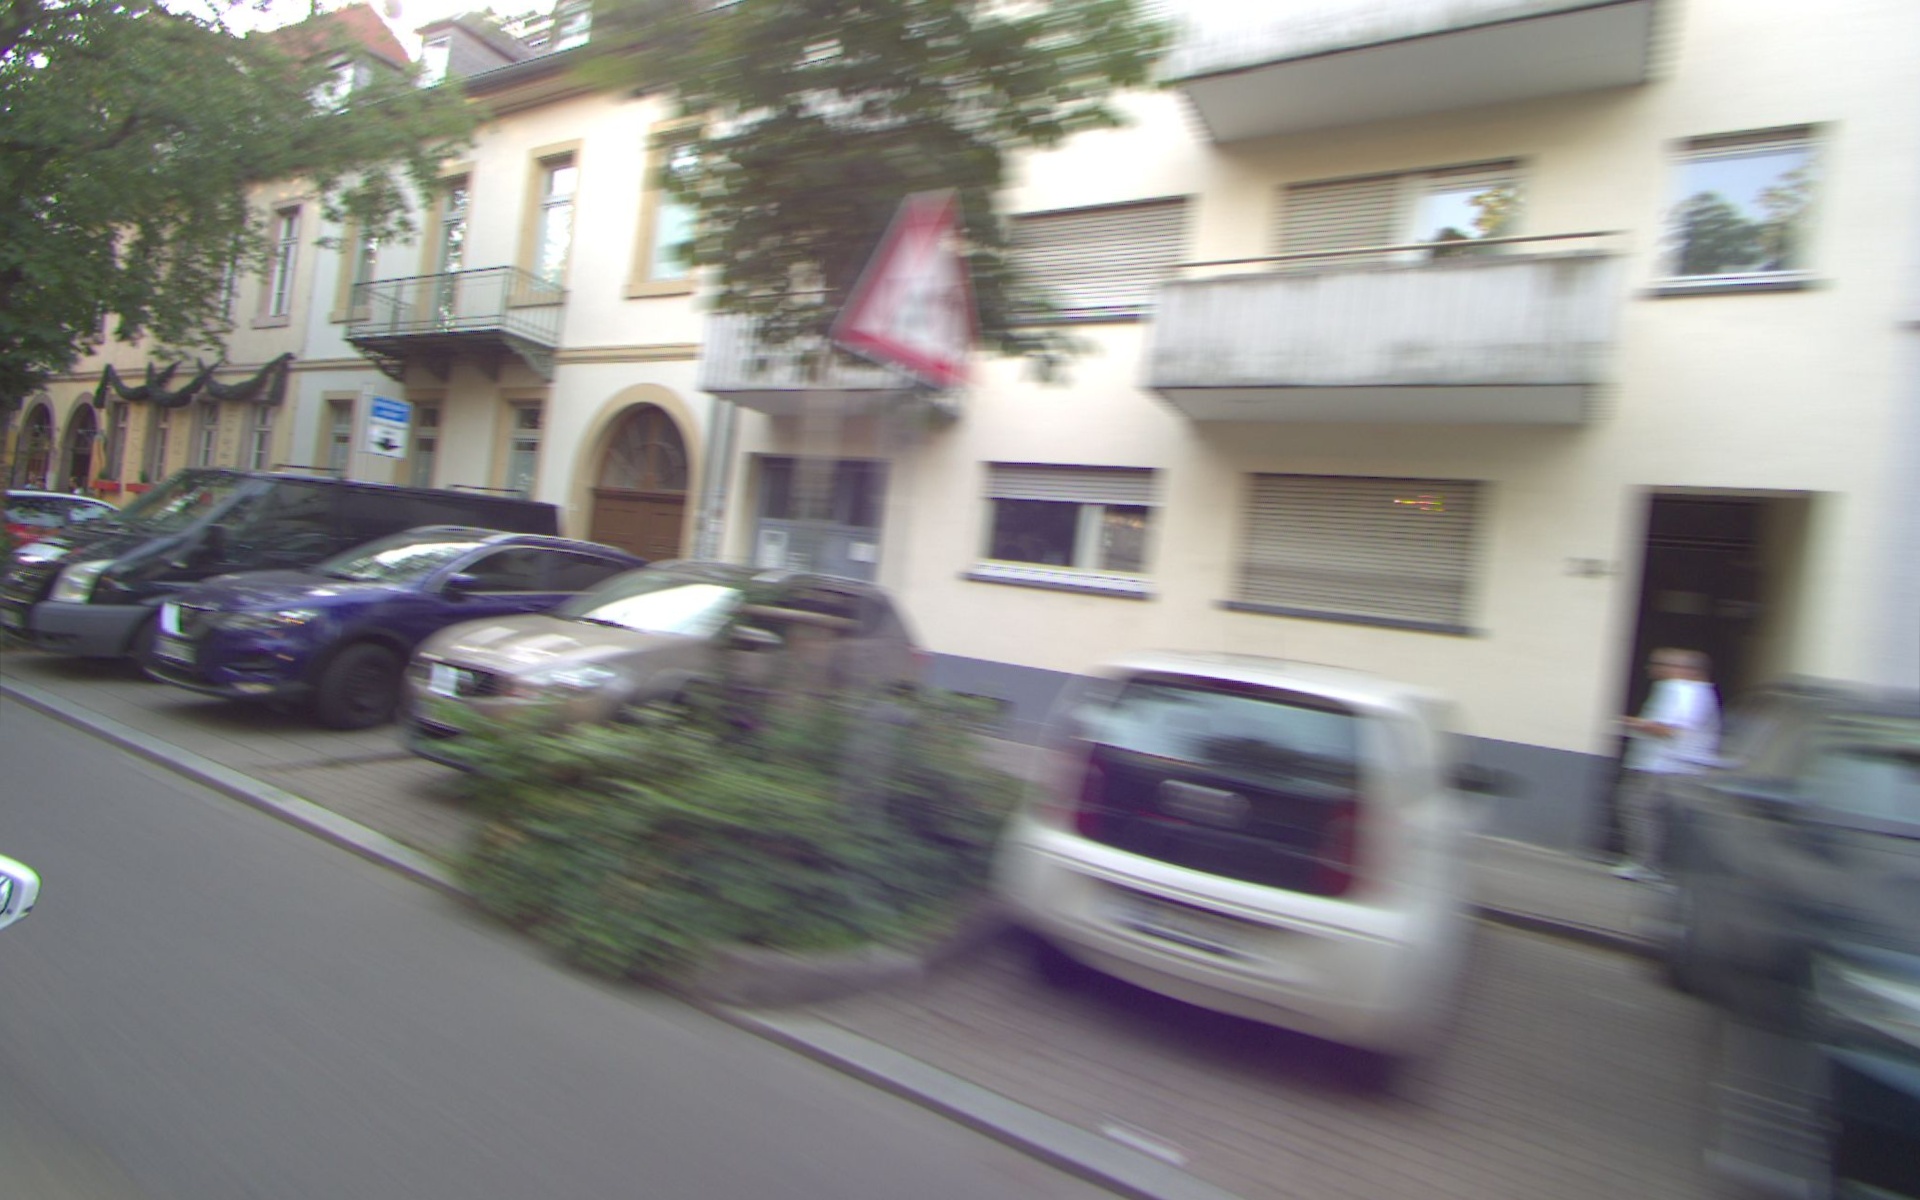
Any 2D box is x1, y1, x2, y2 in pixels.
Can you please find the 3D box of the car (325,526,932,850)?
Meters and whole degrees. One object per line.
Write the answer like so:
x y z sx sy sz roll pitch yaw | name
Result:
-2.094 0.493 7.449 1.820 1.599 3.967 7 2 31 | car

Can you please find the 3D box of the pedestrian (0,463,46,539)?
-23.279 -2.459 24.978 0.613 1.761 0.615 8 2 32 | pedestrian

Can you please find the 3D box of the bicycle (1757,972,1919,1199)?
2.200 1.311 1.169 1.944 1.041 0.673 7 -2 32 | bicycle

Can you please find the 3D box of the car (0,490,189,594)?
-14.984 -0.979 15.888 1.894 1.457 3.989 7 2 30 | car

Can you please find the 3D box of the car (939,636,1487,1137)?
1.648 1.001 5.294 1.669 1.442 3.794 7 2 31 | car

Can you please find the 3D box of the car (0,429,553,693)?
-6.880 -0.317 10.277 2.003 2.038 4.691 7 2 31 | car

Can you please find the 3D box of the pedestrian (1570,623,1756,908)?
5.008 1.136 7.233 0.866 1.817 0.698 7 0 33 | pedestrian

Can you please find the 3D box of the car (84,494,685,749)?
-4.723 0.159 8.914 1.936 1.599 4.158 7 2 30 | car

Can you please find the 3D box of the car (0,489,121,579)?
-17.246 -1.246 16.922 1.853 1.412 4.403 7 2 30 | car

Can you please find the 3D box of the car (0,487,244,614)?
-12.842 -0.719 14.513 1.686 1.599 3.680 7 2 32 | car

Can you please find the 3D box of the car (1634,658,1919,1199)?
3.790 1.167 3.559 1.911 1.599 4.592 7 2 31 | car
